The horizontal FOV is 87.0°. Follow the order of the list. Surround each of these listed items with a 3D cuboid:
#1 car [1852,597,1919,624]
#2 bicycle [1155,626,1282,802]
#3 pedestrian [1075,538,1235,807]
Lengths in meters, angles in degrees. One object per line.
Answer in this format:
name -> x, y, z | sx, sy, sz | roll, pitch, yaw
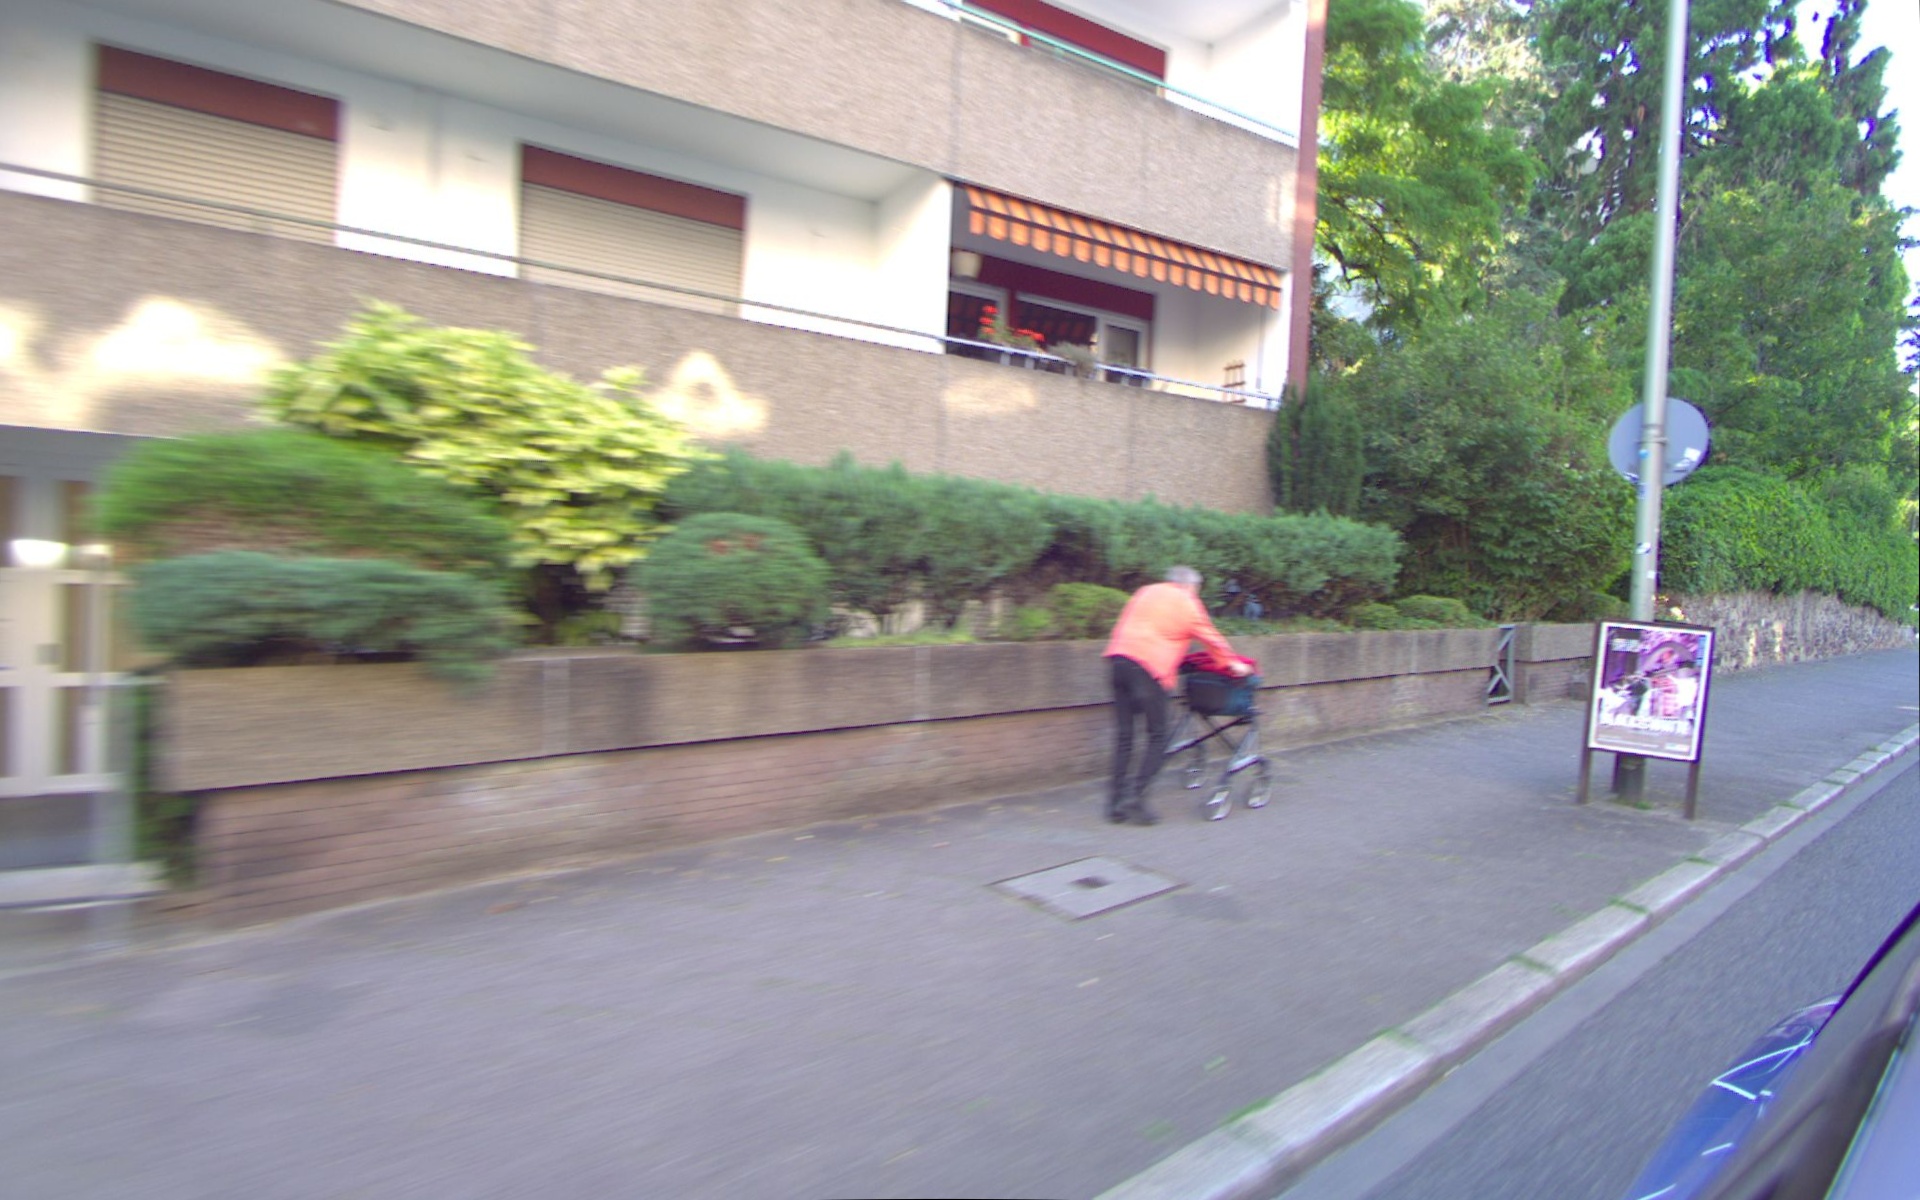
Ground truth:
car -> 54.220, 0.588, 58.273 | 1.744, 1.499, 4.103 | 2, 0, -9
bicycle -> 1.578, 0.663, 6.181 | 0.484, 0.982, 0.567 | 2, 0, -44
pedestrian -> 1.118, 0.382, 5.794 | 0.656, 1.421, 0.598 | 2, 0, -42
